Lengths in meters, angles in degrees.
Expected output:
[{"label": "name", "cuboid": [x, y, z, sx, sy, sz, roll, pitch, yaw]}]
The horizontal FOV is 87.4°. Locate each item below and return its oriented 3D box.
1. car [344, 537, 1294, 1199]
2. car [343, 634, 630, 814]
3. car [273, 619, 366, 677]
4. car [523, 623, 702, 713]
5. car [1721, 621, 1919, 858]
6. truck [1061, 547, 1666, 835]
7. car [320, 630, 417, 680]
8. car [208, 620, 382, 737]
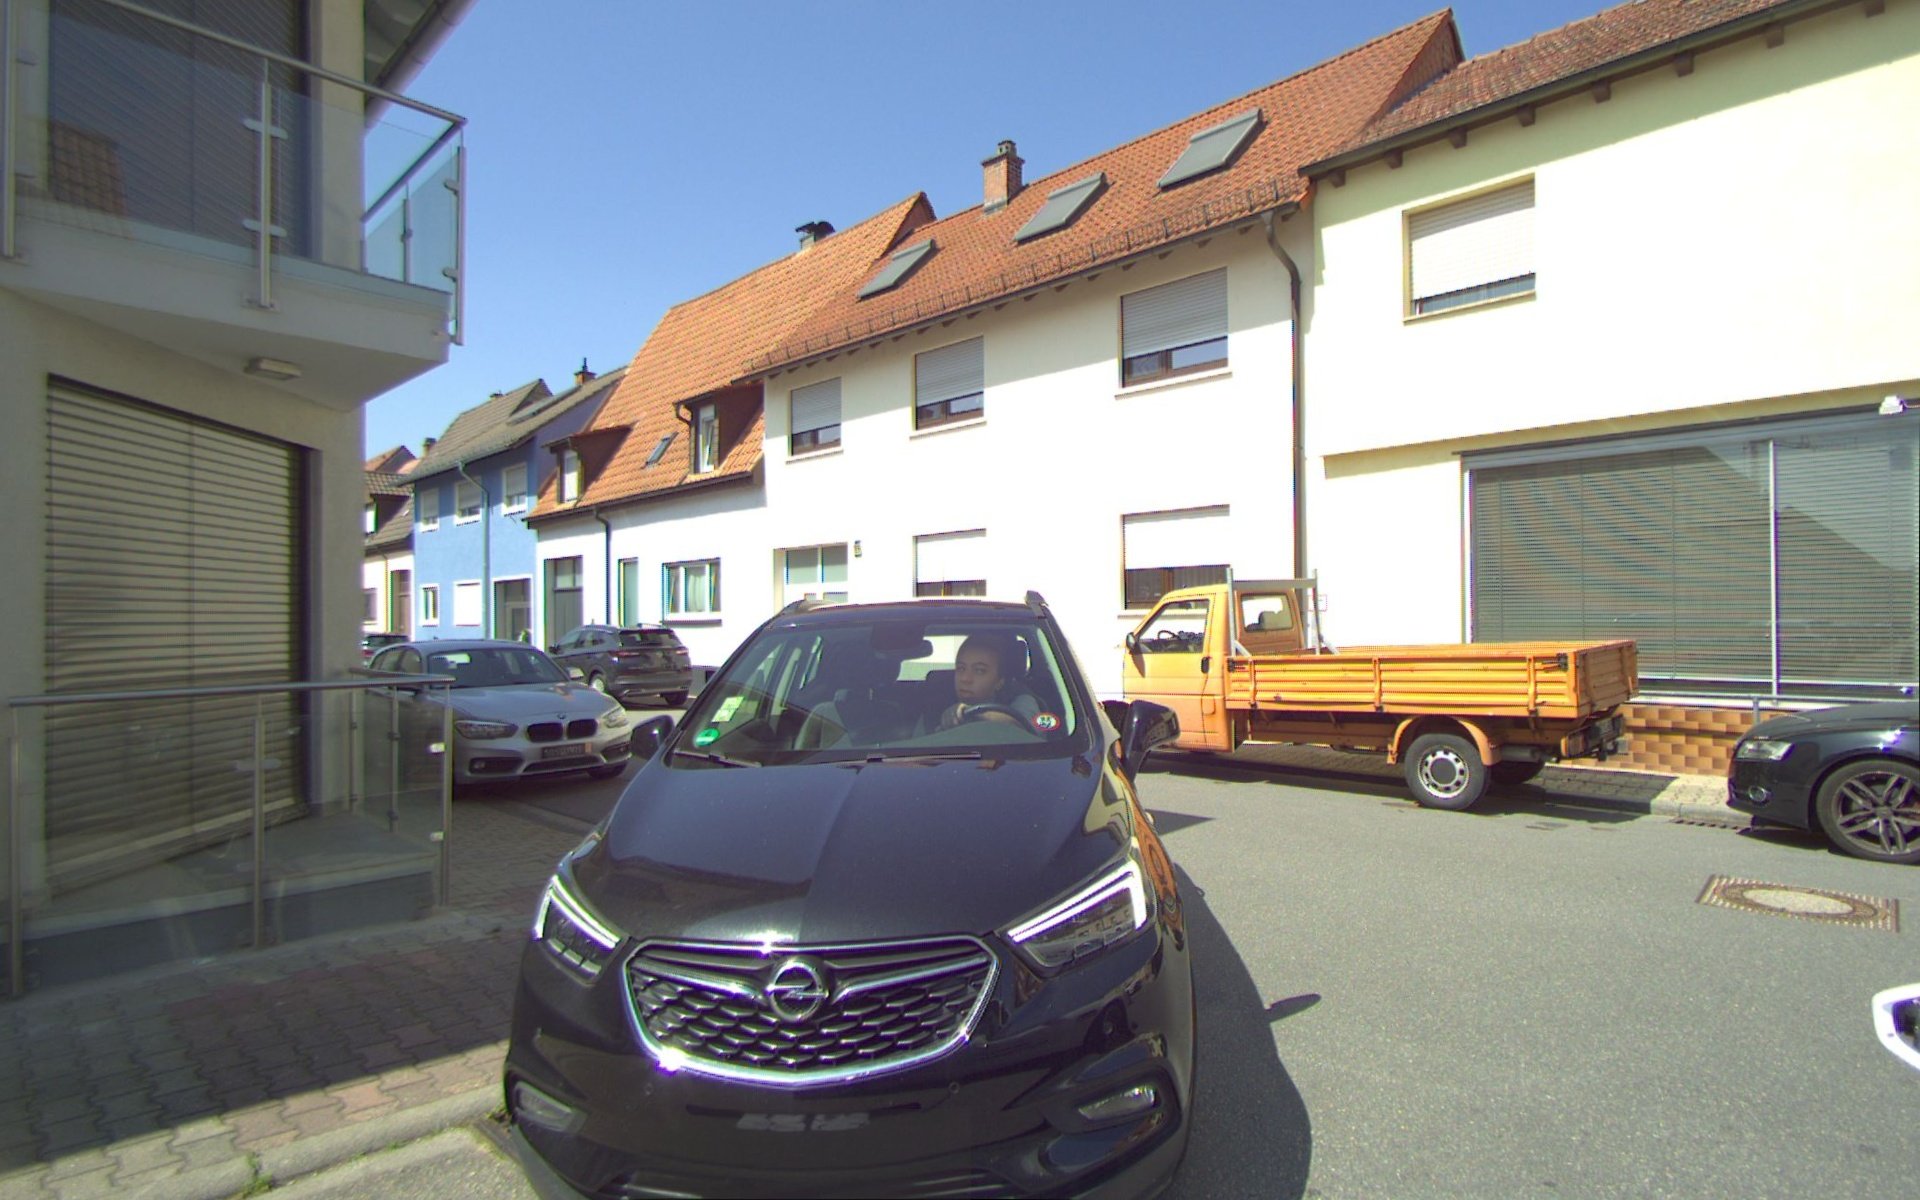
[{"label": "car", "cuboid": [-0.100, 0.776, 3.953, 1.727, 1.604, 4.283, -2, -2, 5]}, {"label": "car", "cuboid": [-5.043, 1.110, 10.428, 1.627, 1.386, 3.879, -2, 0, -42]}, {"label": "car", "cuboid": [-24.477, 1.772, 38.339, 3.941, 2.040, 1.990, 0, -1, 41]}, {"label": "car", "cuboid": [-7.066, 1.293, 20.262, 3.945, 1.635, 1.839, -2, -2, 44]}, {"label": "car", "cuboid": [7.368, 0.879, 5.799, 4.568, 1.412, 1.917, -1, -4, 44]}, {"label": "truck", "cuboid": [3.587, 0.696, 9.706, 2.175, 2.040, 5.013, 1, -2, -44]}, {"label": "car", "cuboid": [-19.091, 1.730, 32.347, 4.158, 1.522, 1.715, -2, -2, 45]}, {"label": "car", "cuboid": [-11.266, 1.233, 16.923, 3.735, 1.752, 1.675, -2, -2, 44]}]
